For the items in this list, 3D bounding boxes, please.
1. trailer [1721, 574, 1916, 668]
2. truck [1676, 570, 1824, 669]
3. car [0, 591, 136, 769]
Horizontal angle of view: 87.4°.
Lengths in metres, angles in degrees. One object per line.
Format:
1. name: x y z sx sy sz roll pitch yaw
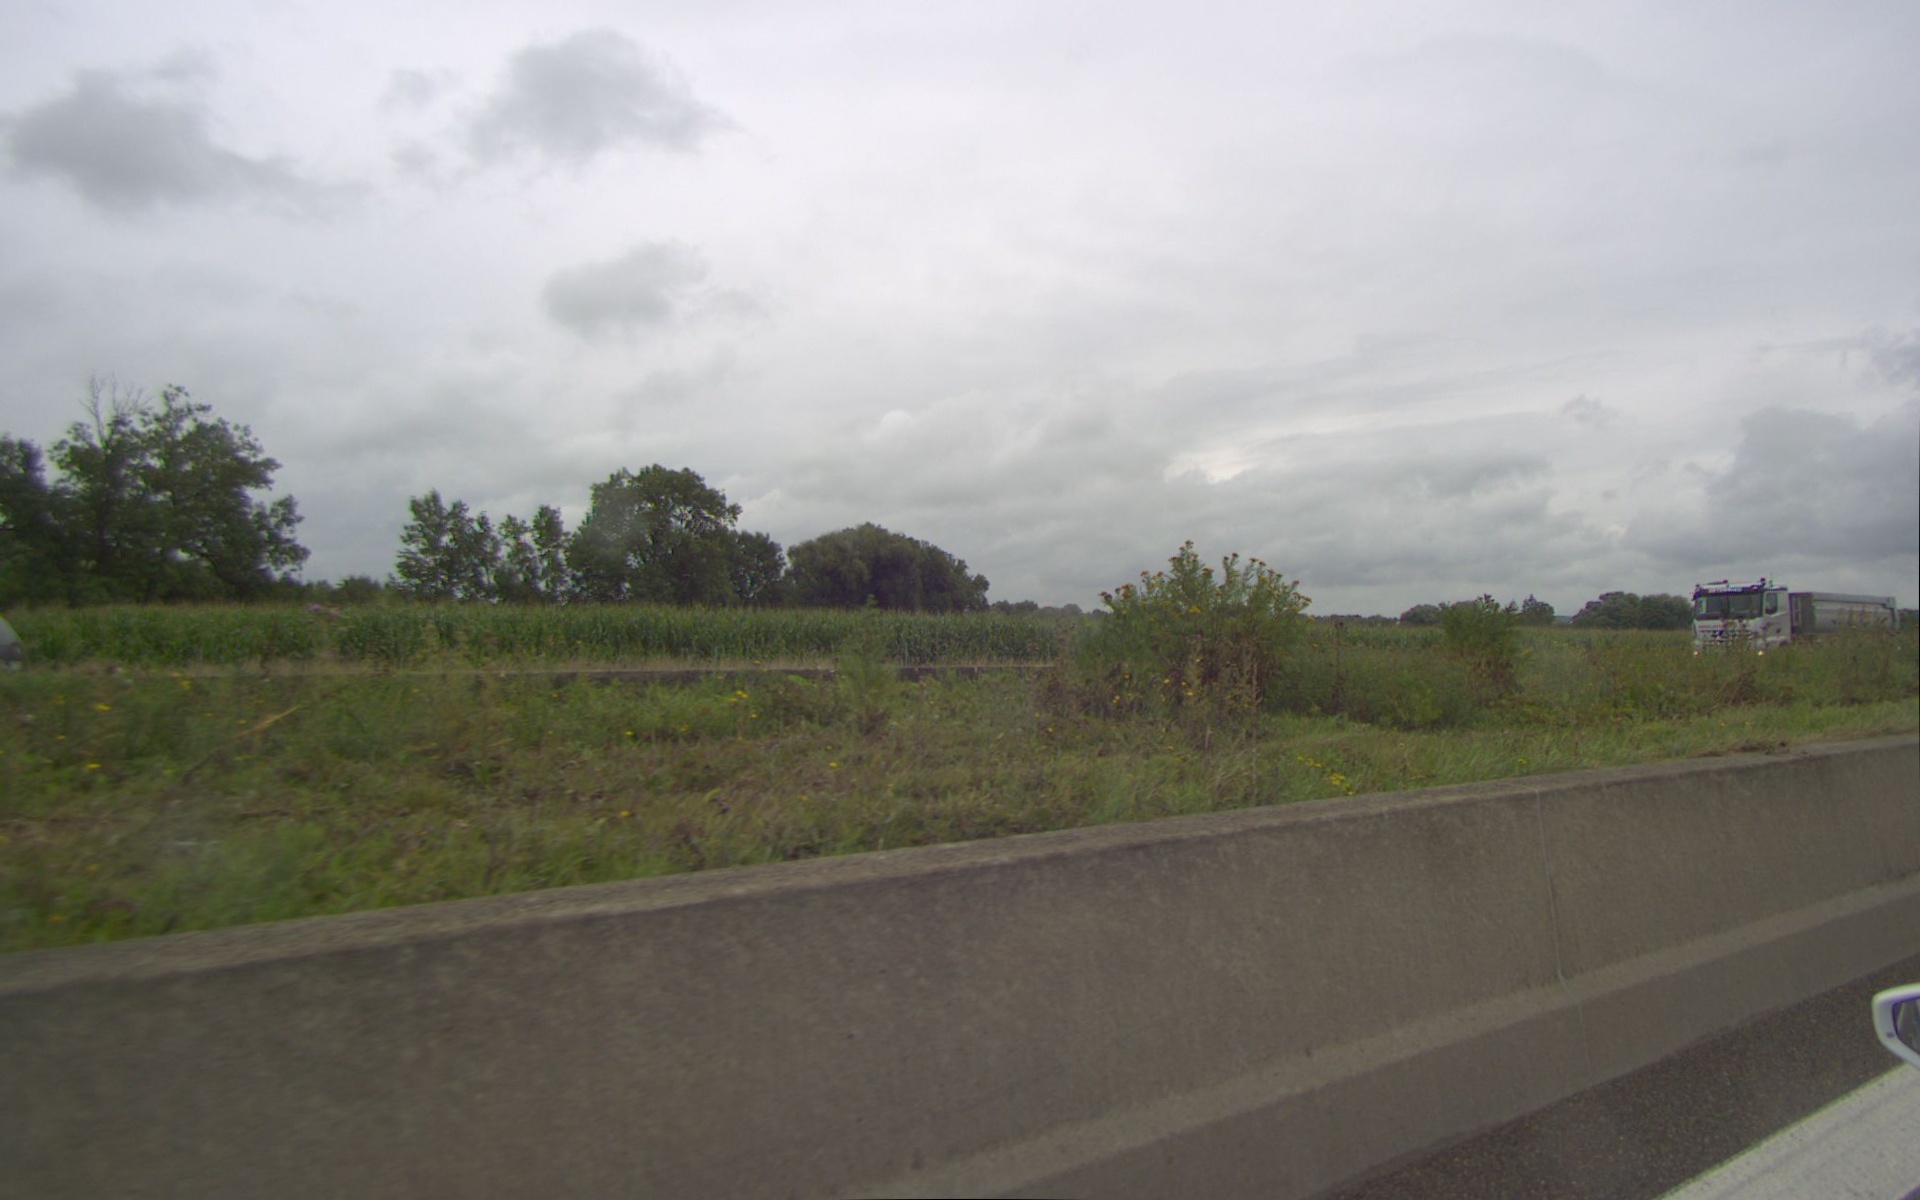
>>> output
1. trailer: 34.030 0.883 39.649 9.811 3.373 2.773 2 0 -30
2. truck: 28.736 0.706 36.526 4.468 3.388 2.742 2 0 -30
3. car: -12.769 0.890 11.803 4.429 2.040 1.984 2 0 -30
